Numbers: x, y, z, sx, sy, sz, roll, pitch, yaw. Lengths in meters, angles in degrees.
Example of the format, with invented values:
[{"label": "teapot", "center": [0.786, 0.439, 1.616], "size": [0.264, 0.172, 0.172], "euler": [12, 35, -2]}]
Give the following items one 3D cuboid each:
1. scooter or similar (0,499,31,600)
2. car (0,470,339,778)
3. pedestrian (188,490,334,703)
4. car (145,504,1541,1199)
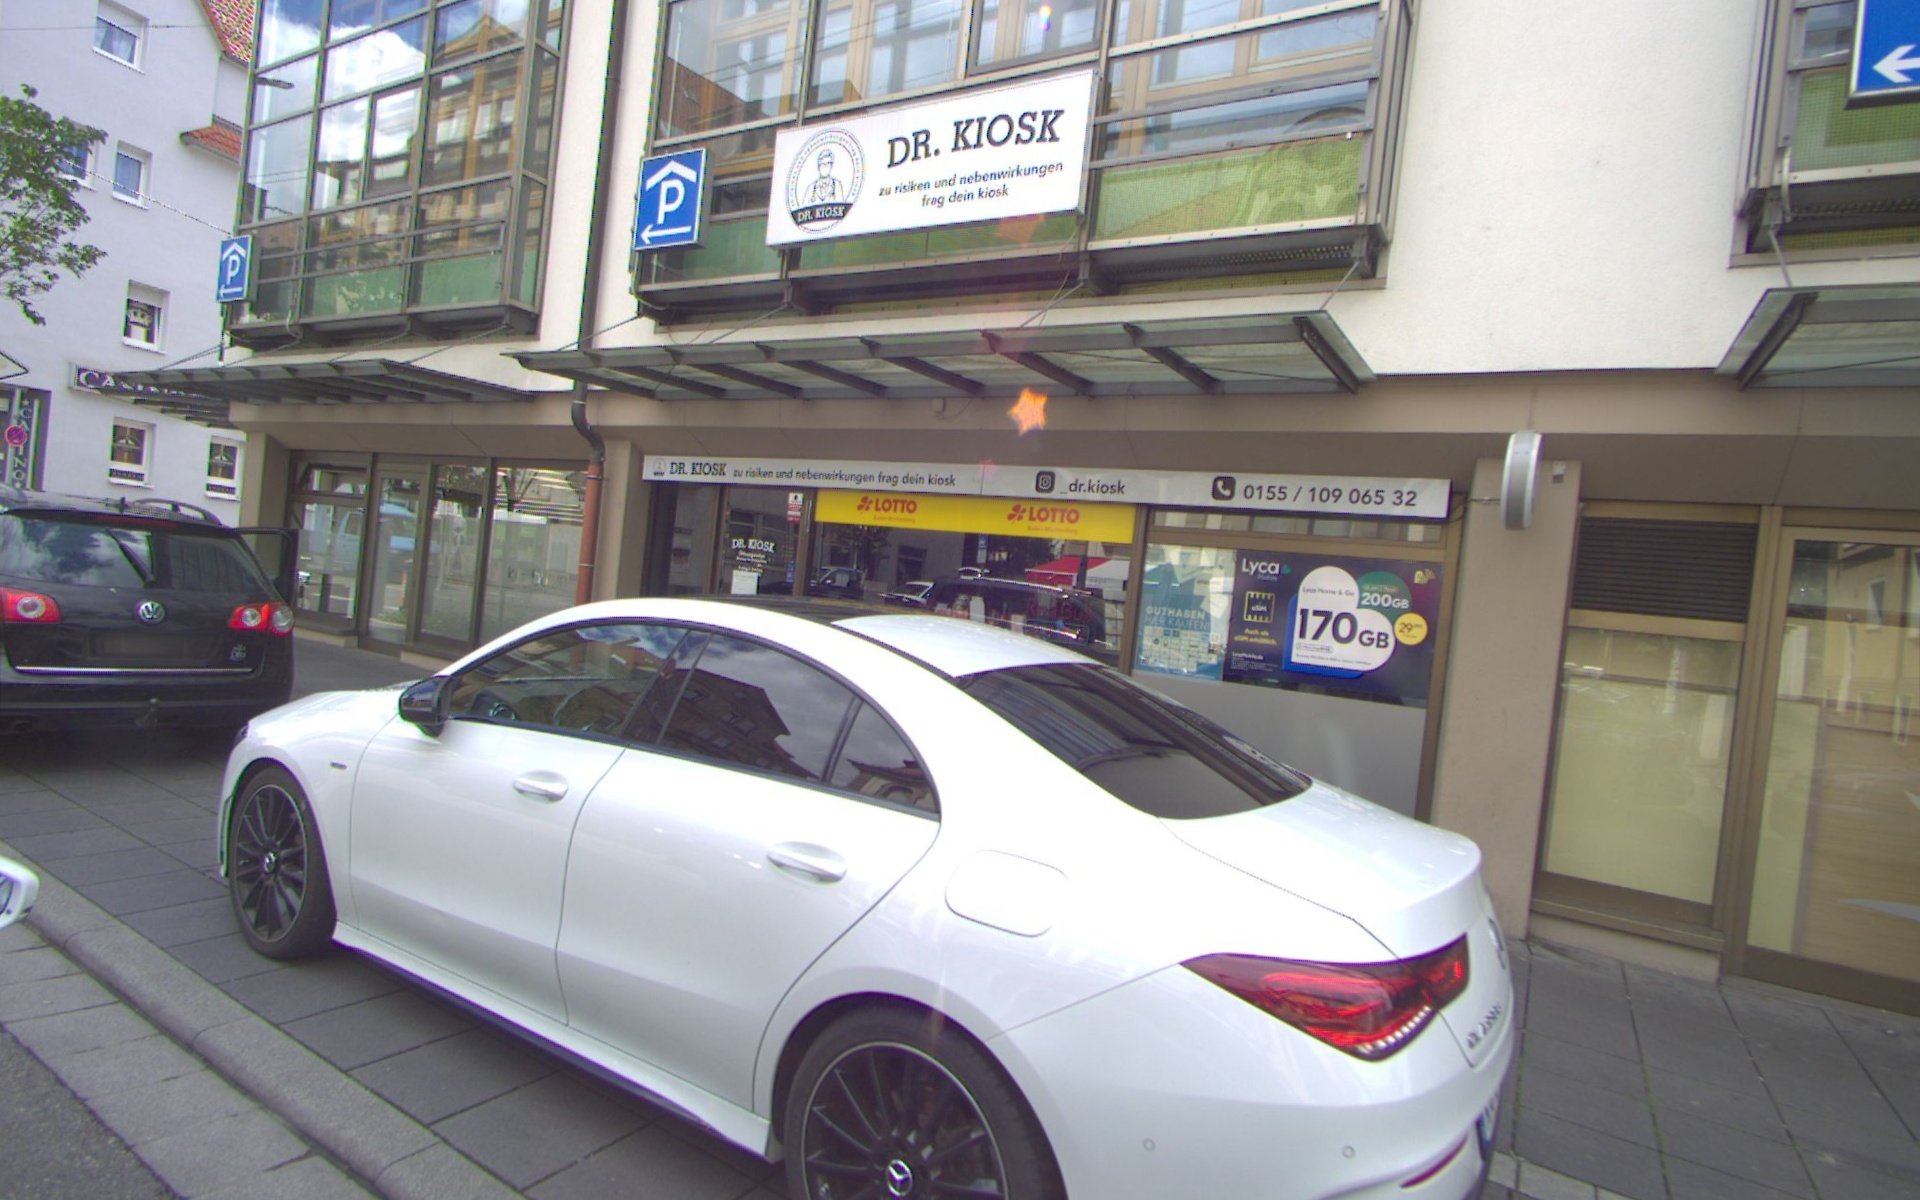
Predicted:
[{"label": "scooter or similar", "center": [-13.087, -0.723, 13.537], "size": [1.229, 1.295, 0.431], "euler": [6, -1, 32]}, {"label": "car", "center": [-6.100, -0.053, 6.526], "size": [4.478, 1.471, 1.716], "euler": [7, 0, 34]}, {"label": "pedestrian", "center": [-5.497, -0.014, 7.931], "size": [0.469, 1.580, 0.660], "euler": [6, -1, 33]}, {"label": "car", "center": [-0.677, 0.662, 3.451], "size": [4.460, 1.462, 1.854], "euler": [7, 0, 32]}]
